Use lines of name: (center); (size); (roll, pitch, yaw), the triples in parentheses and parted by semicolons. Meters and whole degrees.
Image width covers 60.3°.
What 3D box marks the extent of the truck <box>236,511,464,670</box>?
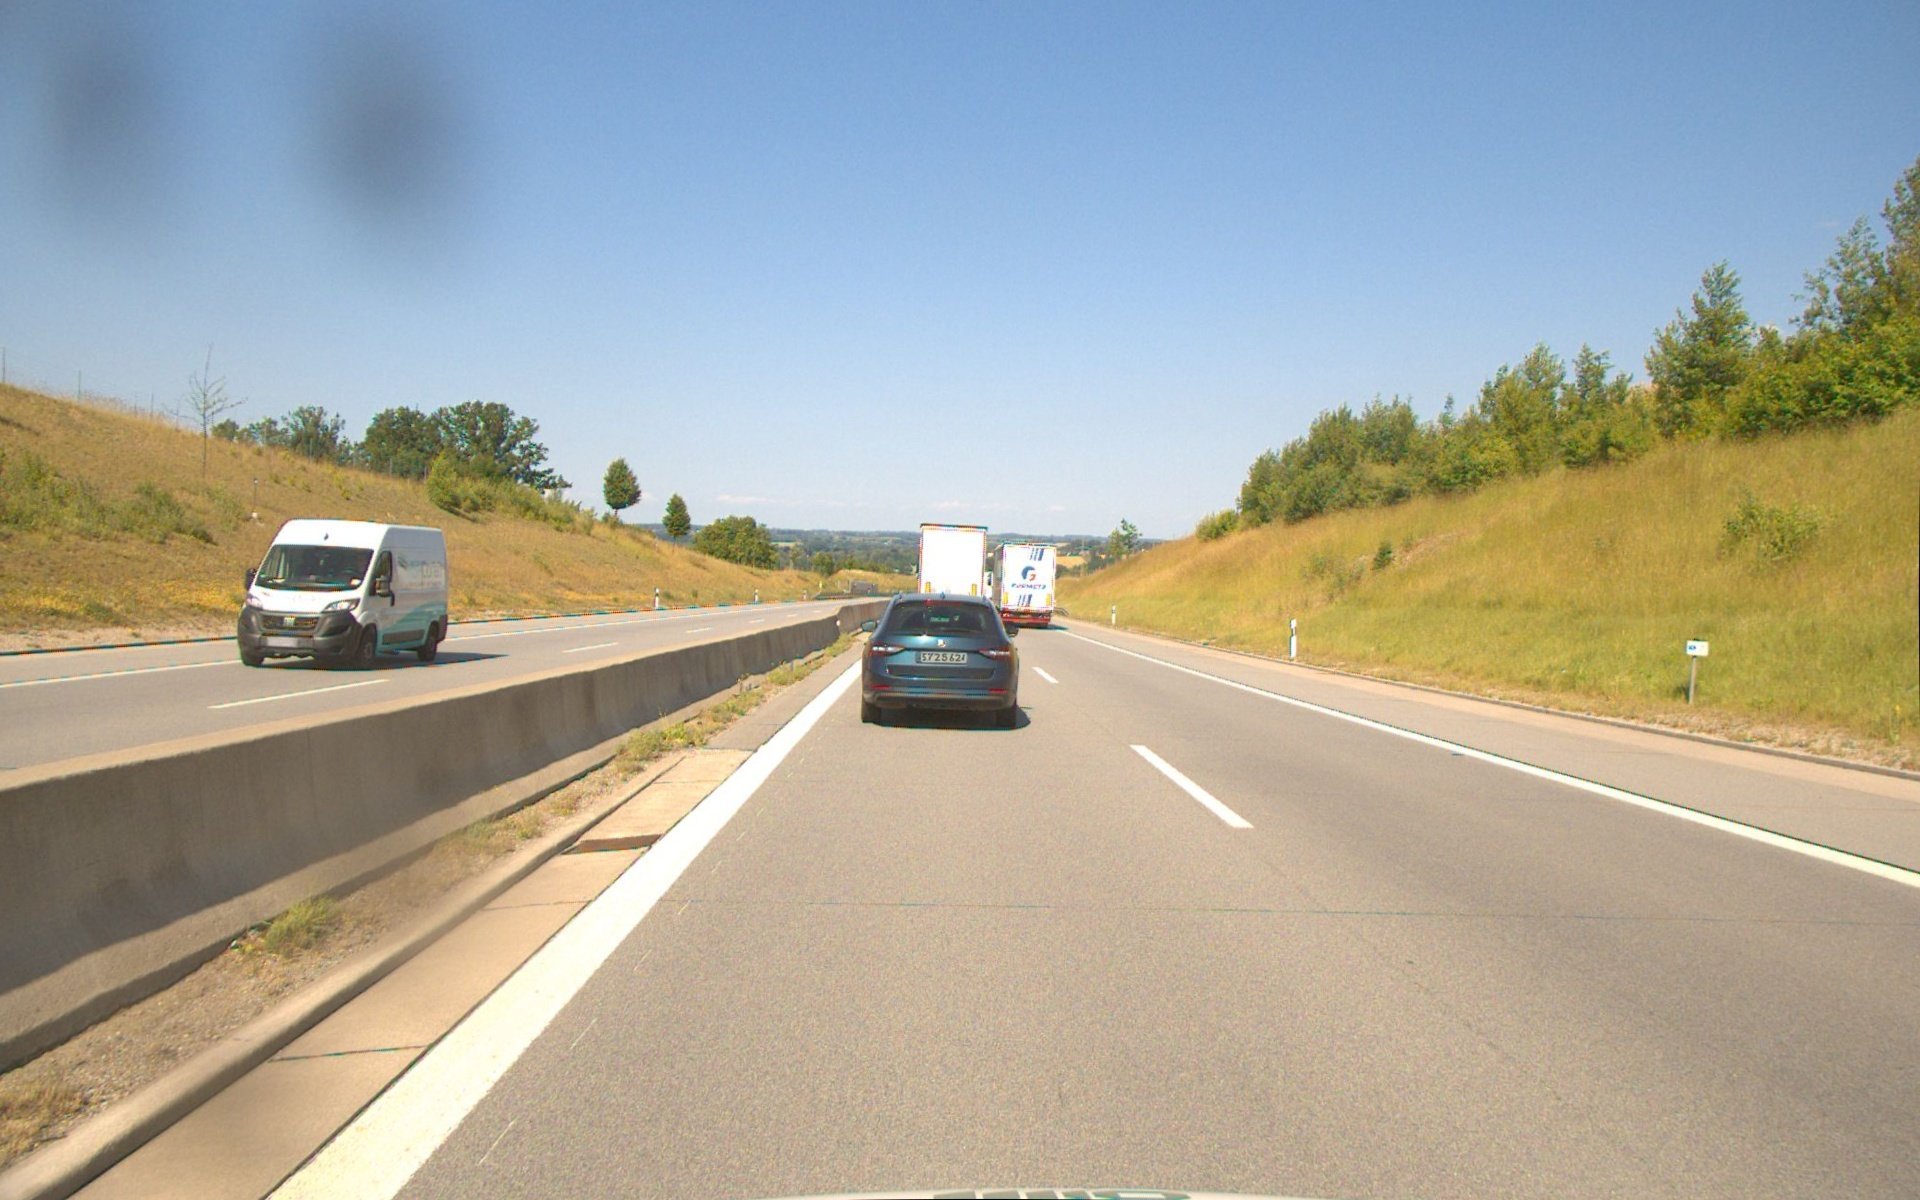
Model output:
truck: (-10.578, -0.170, 29.202); (1.953, 2.491, 5.667); (1, 0, -1)

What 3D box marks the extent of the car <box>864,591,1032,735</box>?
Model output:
car: (-0.171, 0.659, 19.379); (1.741, 1.466, 3.788); (1, 0, -2)

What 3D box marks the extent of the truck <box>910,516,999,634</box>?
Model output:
truck: (-0.090, -0.998, 68.238); (3.144, 4.458, 11.237); (0, 0, 2)

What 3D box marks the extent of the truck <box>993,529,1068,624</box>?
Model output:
truck: (3.533, -1.152, 83.511); (3.529, 4.458, 11.237); (0, 0, 2)

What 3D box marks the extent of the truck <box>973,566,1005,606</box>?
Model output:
truck: (3.402, -1.578, 190.085); (3.529, 4.458, 11.237); (0, 0, 2)
